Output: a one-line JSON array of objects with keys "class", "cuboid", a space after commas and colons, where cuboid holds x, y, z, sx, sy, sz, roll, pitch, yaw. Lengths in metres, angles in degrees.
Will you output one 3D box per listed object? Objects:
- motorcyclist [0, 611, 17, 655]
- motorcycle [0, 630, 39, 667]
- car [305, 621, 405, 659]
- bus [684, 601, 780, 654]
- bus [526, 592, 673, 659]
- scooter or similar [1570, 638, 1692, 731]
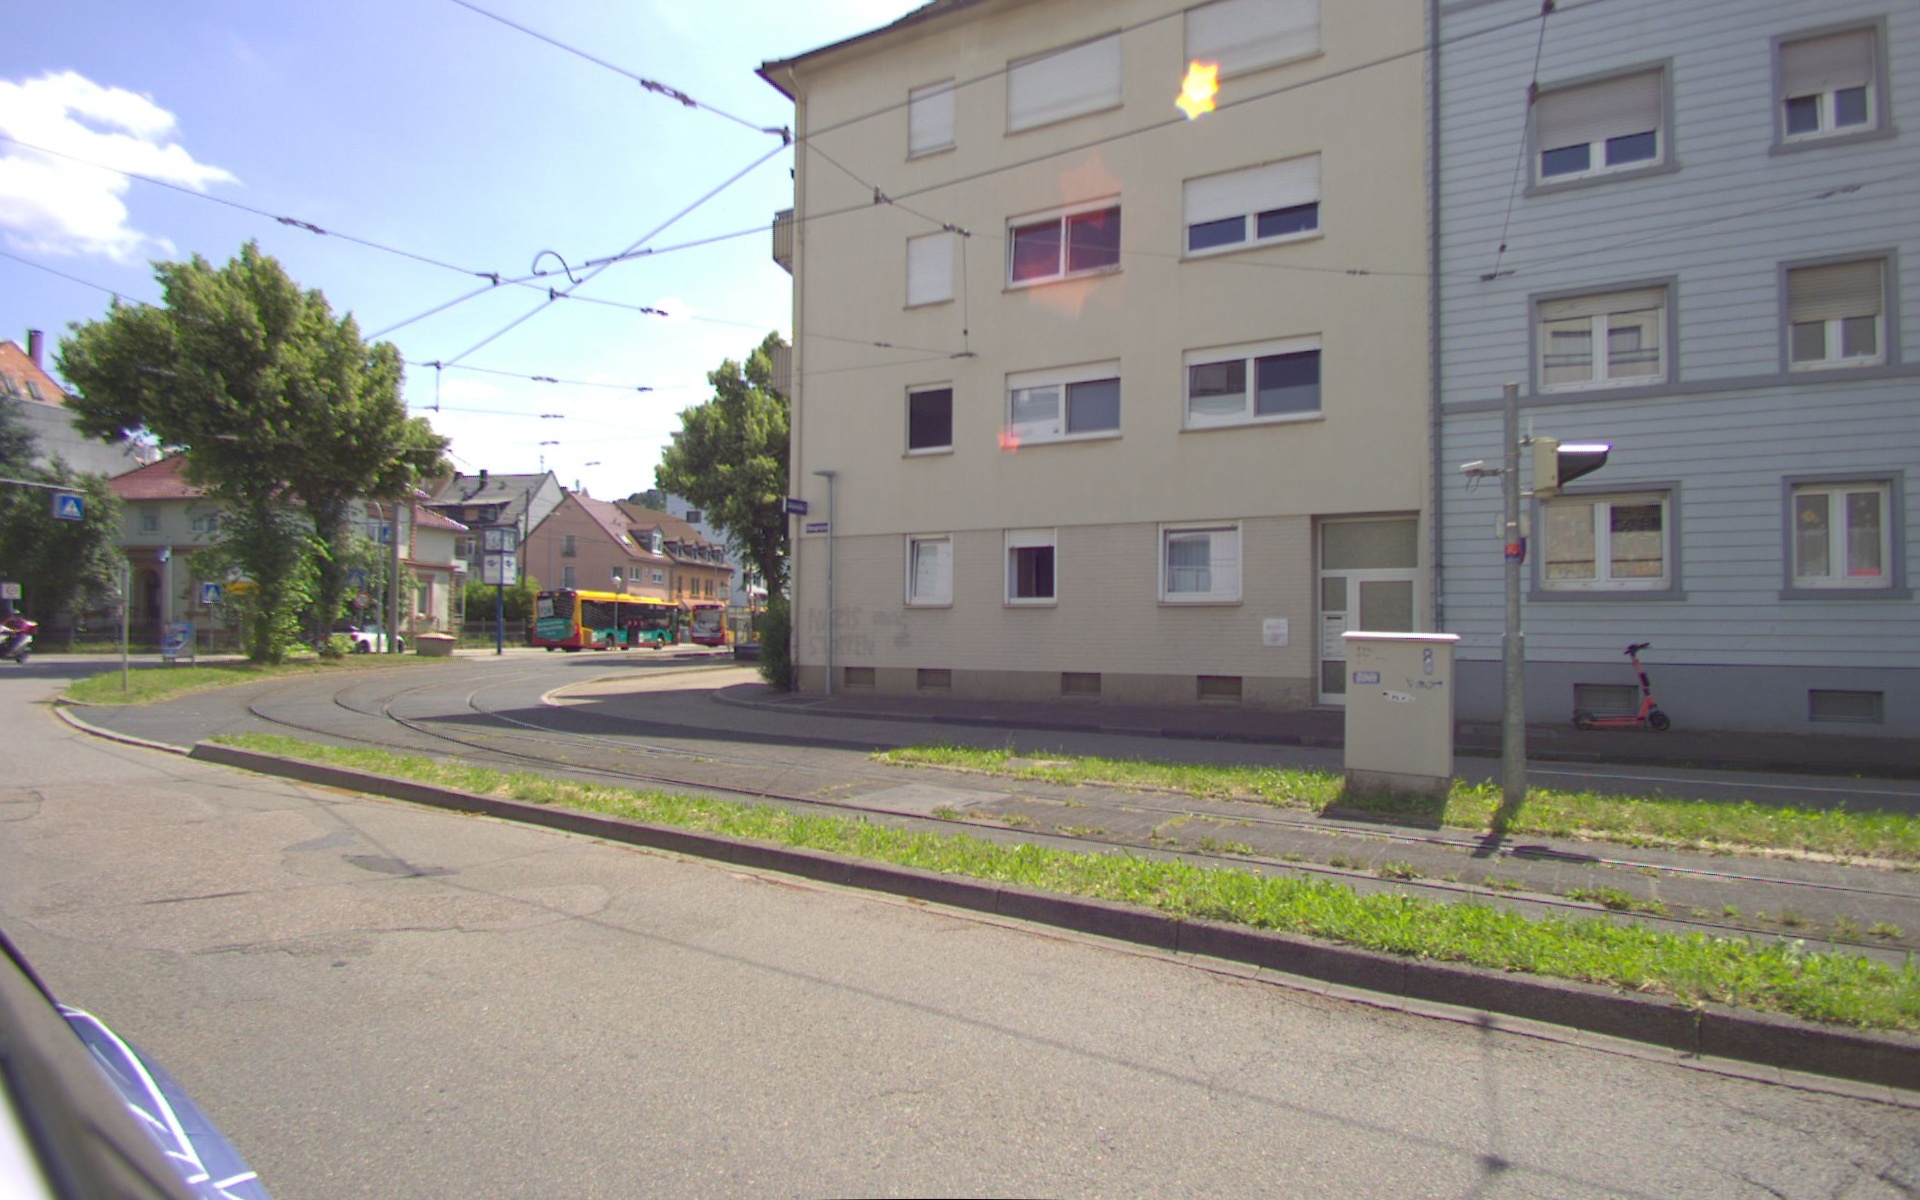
[{"class": "motorcyclist", "cuboid": [-27.781, 0.950, 29.257, 0.536, 1.252, 0.551, 0, -2, 19]}, {"class": "motorcycle", "cuboid": [-27.753, 1.396, 29.303, 0.664, 1.066, 1.427, 0, -2, 19]}, {"class": "car", "cuboid": [-24.736, 1.611, 41.547, 1.755, 1.475, 3.744, 1, -2, 2]}, {"class": "bus", "cuboid": [-16.722, 2.087, 75.408, 2.667, 3.635, 12.172, 0, -2, 9]}, {"class": "bus", "cuboid": [-19.569, 1.493, 55.968, 2.678, 3.322, 10.823, 0, -2, 10]}, {"class": "scooter or similar", "cuboid": [9.323, 1.158, 14.113, 1.315, 1.232, 0.634, -2, -2, 28]}]
